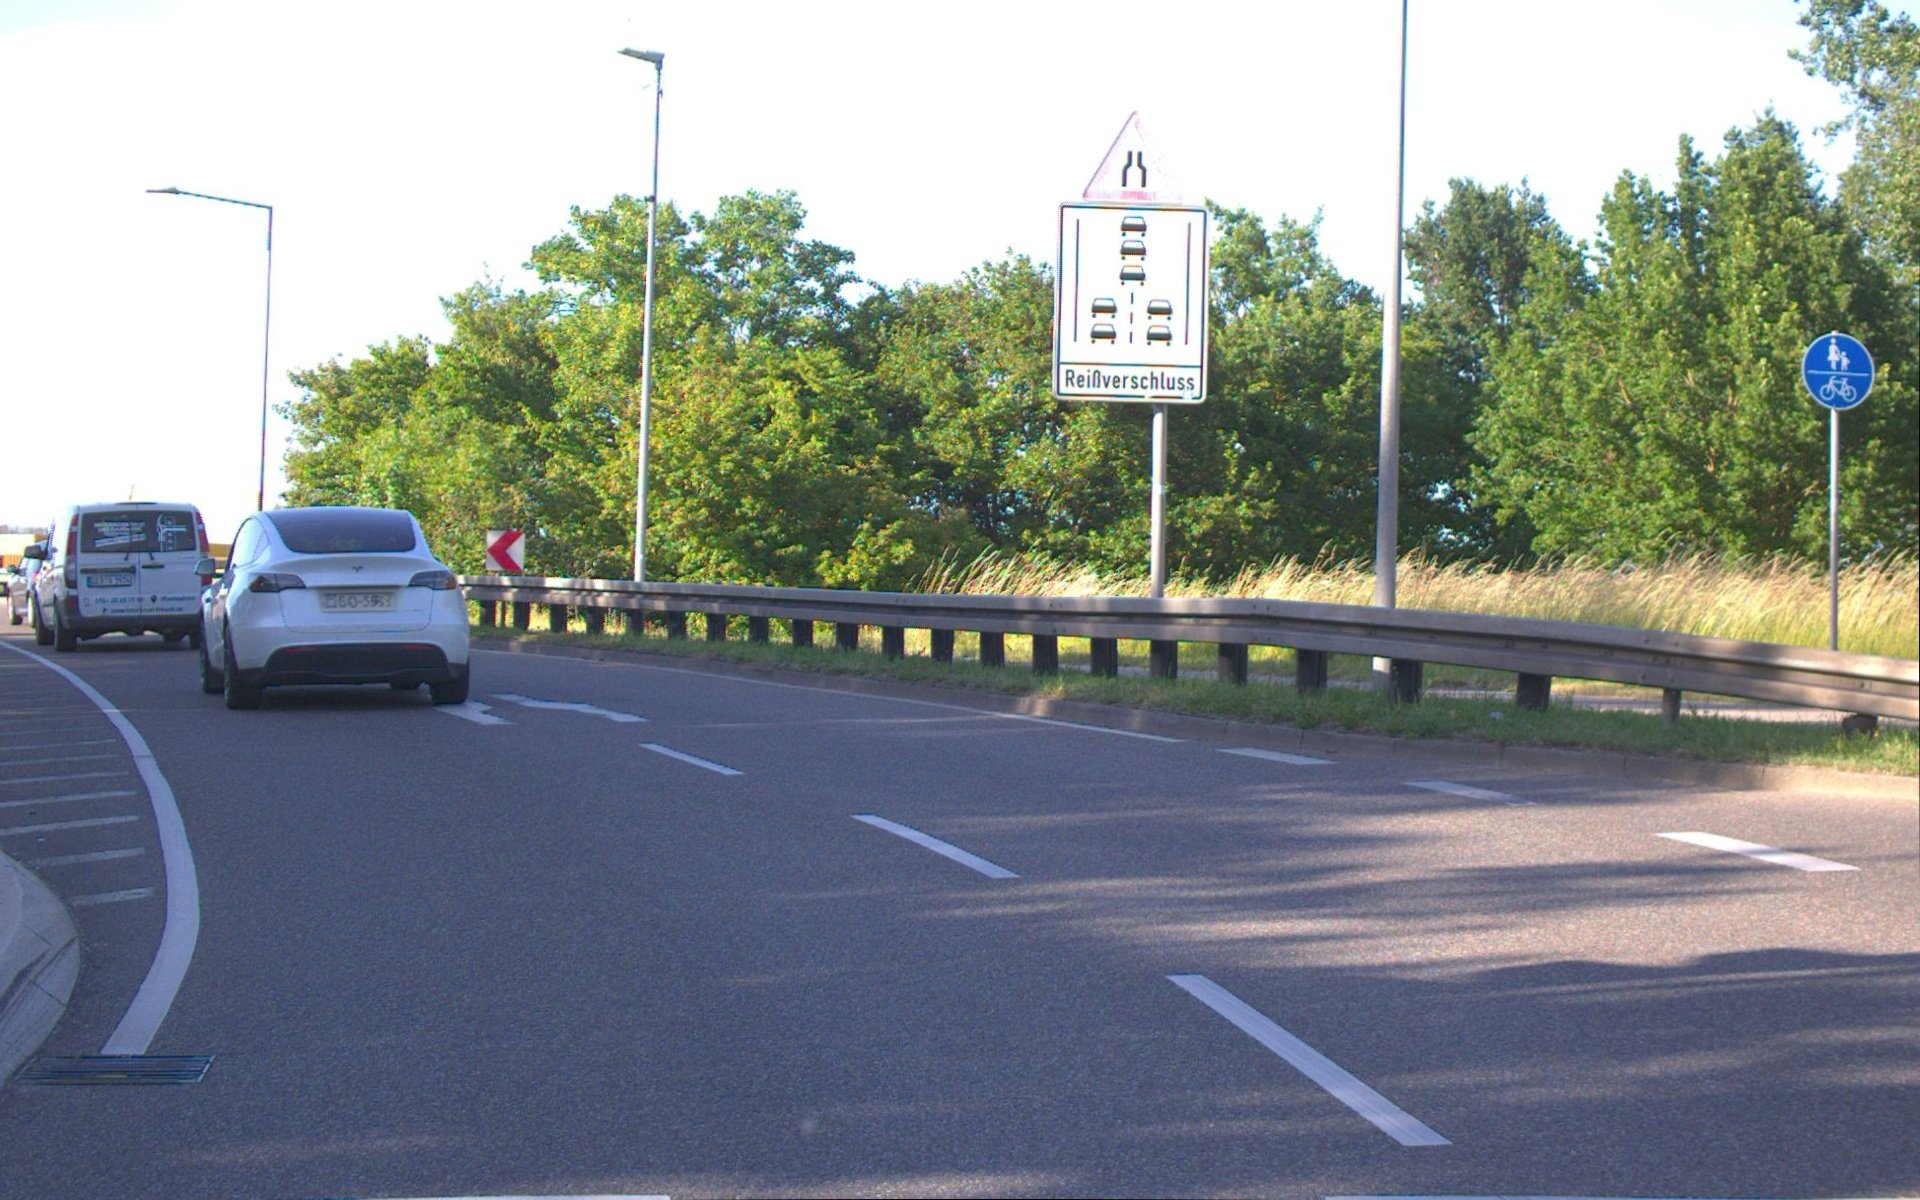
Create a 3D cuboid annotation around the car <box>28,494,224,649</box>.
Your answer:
[{"bbox_3d":[-10.724,-0.374,43.986,1.993,1.873,4.250,1,1,-19],"label":"car"}]

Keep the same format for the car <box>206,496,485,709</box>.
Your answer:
[{"bbox_3d":[-5.224,-0.005,28.821,1.993,1.634,4.129,1,1,-14],"label":"car"}]
